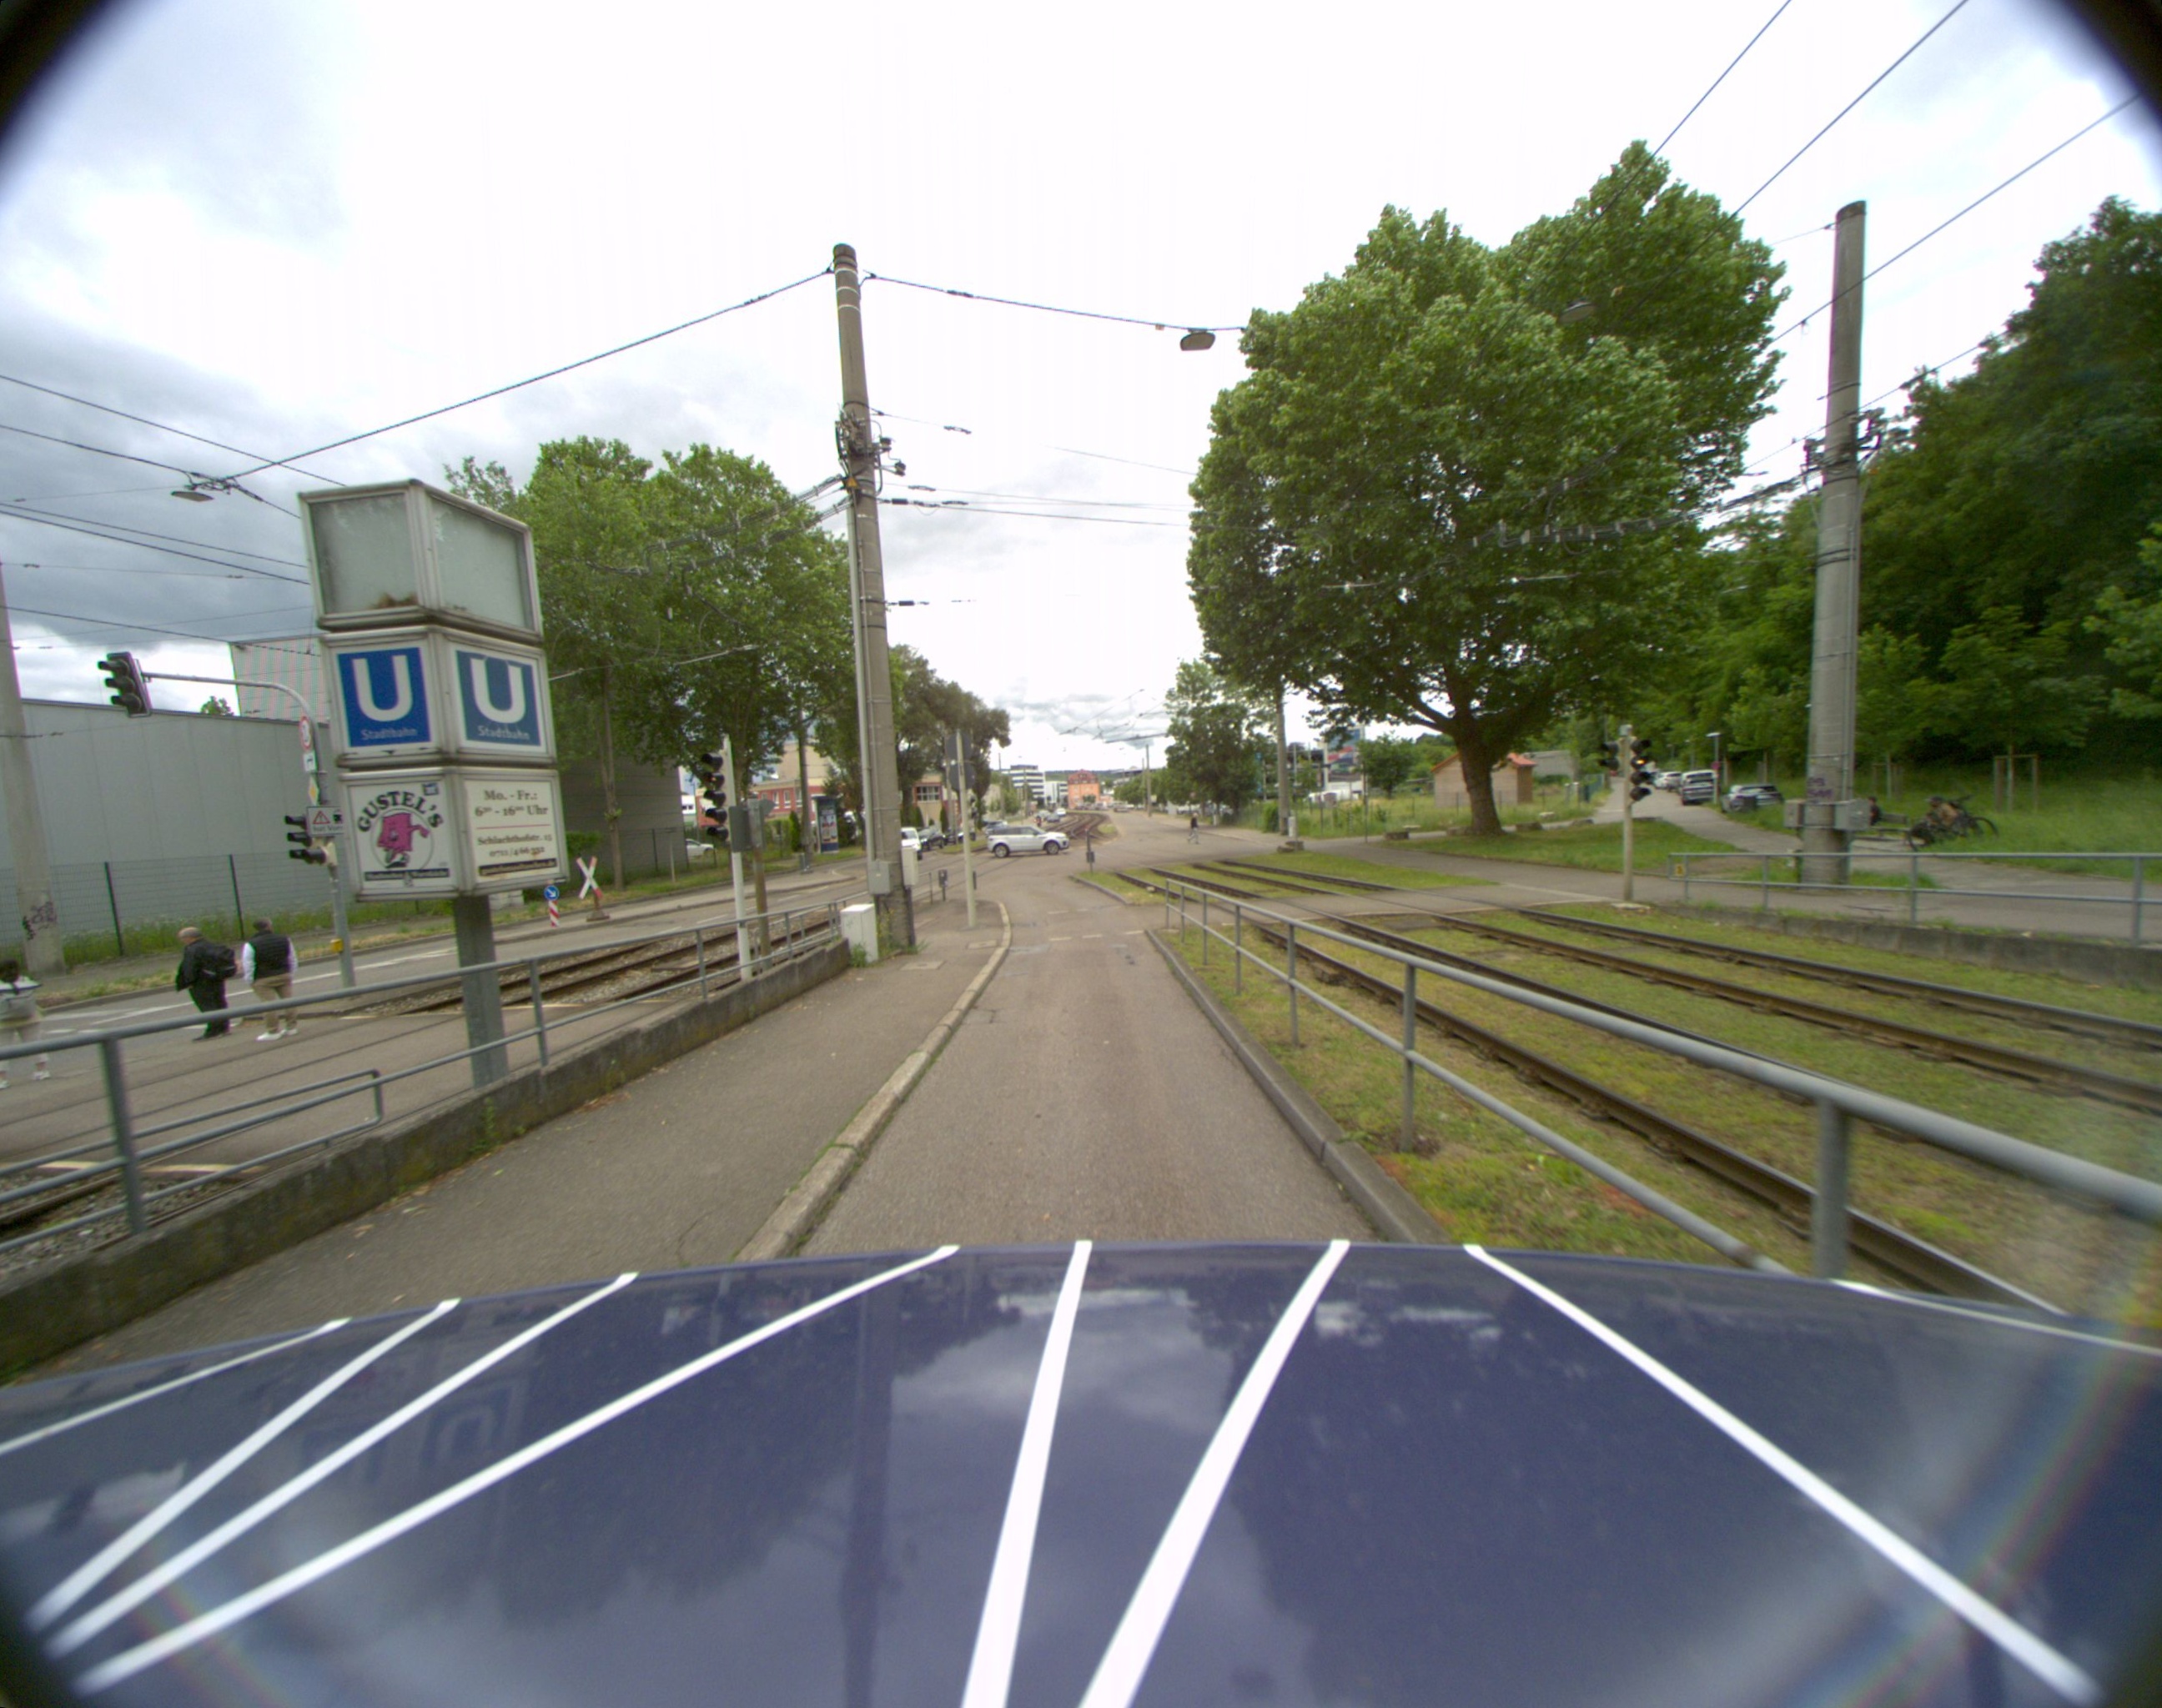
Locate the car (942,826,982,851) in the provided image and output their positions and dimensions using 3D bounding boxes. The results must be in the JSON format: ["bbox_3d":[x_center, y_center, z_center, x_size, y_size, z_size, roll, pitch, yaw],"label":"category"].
[{"bbox_3d":[-9.481,-1.289,60.797,1.998,1.548,4.558,-5,4,5],"label":"car"}]

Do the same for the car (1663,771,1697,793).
[{"bbox_3d":[47.045,-5.693,59.745,1.753,1.370,3.685,-4,5,34],"label":"car"}]

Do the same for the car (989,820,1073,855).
[{"bbox_3d":[-2.610,-0.903,40.681,4.265,1.680,2.000,-2,1,2],"label":"car"}]

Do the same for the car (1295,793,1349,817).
[{"bbox_3d":[29.304,-5.985,92.549,5.838,2.256,2.055,-4,5,29],"label":"car"}]

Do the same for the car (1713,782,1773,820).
[{"bbox_3d":[31.206,-2.518,35.901,1.696,1.417,3.507,-4,5,34],"label":"car"}]

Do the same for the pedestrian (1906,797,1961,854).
[{"bbox_3d":[19.710,-0.671,17.572,0.579,1.229,0.673,-5,5,21],"label":"pedestrian"}]

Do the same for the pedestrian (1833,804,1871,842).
[{"bbox_3d":[21.619,-0.867,21.320,0.531,0.984,0.620,-5,5,23],"label":"pedestrian"}]

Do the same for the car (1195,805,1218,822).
[{"bbox_3d":[18.046,-5.840,109.276,2.141,2.105,4.772,-6,4,-1],"label":"car"}]

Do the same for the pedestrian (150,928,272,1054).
[{"bbox_3d":[-12.977,2.015,11.364,0.738,1.656,0.680,-8,4,-15],"label":"pedestrian"}]

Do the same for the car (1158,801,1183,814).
[{"bbox_3d":[18.119,-9.380,153.723,4.636,2.197,2.107,-6,4,-1],"label":"car"}]

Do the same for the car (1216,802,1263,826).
[{"bbox_3d":[19.334,-4.901,92.940,5.267,2.256,1.999,-6,4,4],"label":"car"}]

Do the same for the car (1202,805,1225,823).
[{"bbox_3d":[17.954,-5.435,103.001,2.141,2.105,4.772,-6,4,0],"label":"car"}]

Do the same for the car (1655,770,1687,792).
[{"bbox_3d":[51.662,-6.424,66.533,1.753,1.604,3.685,-4,5,32],"label":"car"}]

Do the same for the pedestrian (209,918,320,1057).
[{"bbox_3d":[-11.673,1.879,10.875,0.803,1.812,0.671,-1,6,26],"label":"pedestrian"}]

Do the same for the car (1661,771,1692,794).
[{"bbox_3d":[49.323,-5.926,62.968,1.753,1.604,3.685,-4,5,34],"label":"car"}]

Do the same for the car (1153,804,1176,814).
[{"bbox_3d":[18.164,-9.808,165.436,4.636,1.831,2.107,-6,4,-1],"label":"car"}]

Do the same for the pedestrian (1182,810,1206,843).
[{"bbox_3d":[6.473,-1.591,43.415,1.120,1.751,0.813,-6,4,2],"label":"pedestrian"}]

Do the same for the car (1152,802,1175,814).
[{"bbox_3d":[18.252,-10.161,167.813,4.636,2.197,2.107,-6,4,-1],"label":"car"}]

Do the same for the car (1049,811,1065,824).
[{"bbox_3d":[-3.558,-5.505,114.019,1.868,1.741,3.997,-6,4,2],"label":"car"}]

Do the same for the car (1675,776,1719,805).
[{"bbox_3d":[37.083,-3.827,45.801,1.696,1.417,3.507,-4,5,34],"label":"car"}]

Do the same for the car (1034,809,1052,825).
[{"bbox_3d":[-4.880,-4.777,98.014,1.868,1.741,3.997,-6,4,2],"label":"car"}]

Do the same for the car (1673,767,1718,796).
[{"bbox_3d":[40.213,-4.765,49.798,1.905,1.604,3.685,-4,5,34],"label":"car"}]

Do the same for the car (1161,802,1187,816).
[{"bbox_3d":[18.155,-8.783,148.492,4.636,2.197,2.107,-6,4,-1],"label":"car"}]

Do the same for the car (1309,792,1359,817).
[{"bbox_3d":[31.683,-6.171,95.147,5.651,2.448,1.982,-4,5,26],"label":"car"}]

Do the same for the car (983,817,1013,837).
[{"bbox_3d":[-7.951,-2.620,73.328,1.998,1.548,4.558,-5,4,5],"label":"car"}]

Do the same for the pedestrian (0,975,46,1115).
[{"bbox_3d":[-13.635,2.405,9.274,0.681,1.656,0.737,-6,4,6],"label":"pedestrian"}]

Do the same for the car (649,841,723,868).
[{"bbox_3d":[-30.463,0.029,58.734,1.994,1.657,4.507,-1,5,34],"label":"car"}]

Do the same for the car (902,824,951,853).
[{"bbox_3d":[-10.631,-1.102,52.676,1.998,1.548,4.558,-5,4,5],"label":"car"}]

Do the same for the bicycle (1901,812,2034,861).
[{"bbox_3d":[19.063,-0.375,16.387,1.742,0.881,0.623,-4,5,27],"label":"bicycle"}]

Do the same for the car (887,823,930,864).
[{"bbox_3d":[-9.741,-0.665,42.740,2.001,1.992,5.025,-5,4,-15],"label":"car"}]
